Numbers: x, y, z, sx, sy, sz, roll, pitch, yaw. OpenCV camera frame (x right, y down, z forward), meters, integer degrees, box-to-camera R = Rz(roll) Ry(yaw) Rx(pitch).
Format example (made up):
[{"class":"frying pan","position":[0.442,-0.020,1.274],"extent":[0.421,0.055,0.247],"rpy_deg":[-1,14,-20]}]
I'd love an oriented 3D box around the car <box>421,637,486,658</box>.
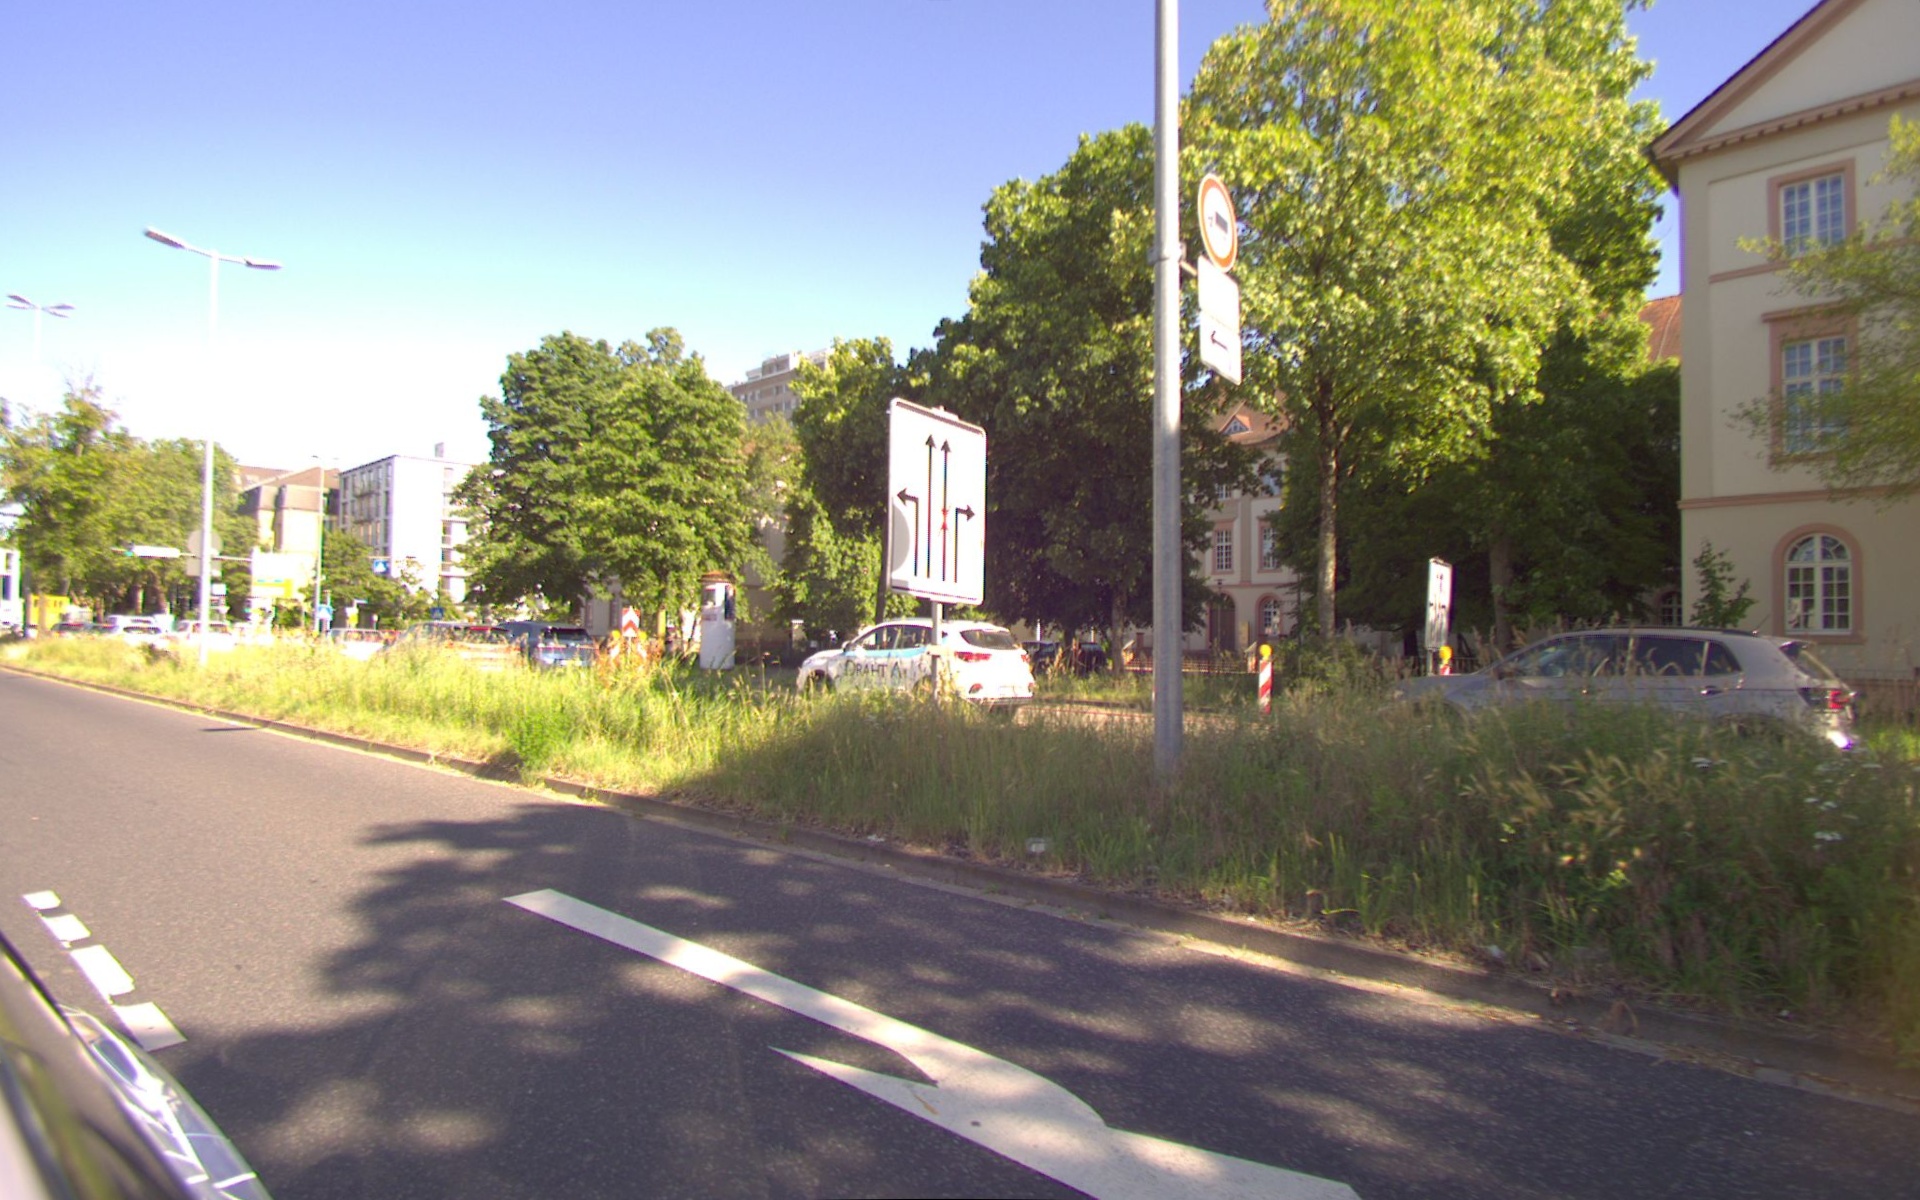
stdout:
[{"class":"car","position":[-43.418,4.029,86.775],"extent":[4.637,1.630,1.922],"rpy_deg":[1,1,-40]}]

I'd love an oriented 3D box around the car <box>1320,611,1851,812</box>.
[{"class":"car","position":[6.037,0.910,10.097],"extent":[4.257,1.530,1.777],"rpy_deg":[1,-1,42]}]

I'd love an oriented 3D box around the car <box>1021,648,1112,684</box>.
[{"class":"car","position":[4.276,2.645,40.963],"extent":[1.743,1.333,3.507],"rpy_deg":[3,-3,-39]}]

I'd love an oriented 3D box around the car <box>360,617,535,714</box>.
[{"class":"car","position":[-10.633,1.250,20.867],"extent":[4.322,1.630,1.734],"rpy_deg":[2,1,42]}]

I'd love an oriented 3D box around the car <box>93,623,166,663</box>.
[{"class":"car","position":[-45.076,2.298,54.896],"extent":[5.014,2.043,2.210],"rpy_deg":[-1,-3,41]}]

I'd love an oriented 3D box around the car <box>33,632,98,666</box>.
[{"class":"car","position":[-43.093,2.316,48.720],"extent":[4.344,1.530,1.777],"rpy_deg":[-1,-1,41]}]

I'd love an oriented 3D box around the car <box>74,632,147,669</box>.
[{"class":"car","position":[-37.526,2.199,44.664],"extent":[4.360,1.530,1.777],"rpy_deg":[-2,-2,41]}]

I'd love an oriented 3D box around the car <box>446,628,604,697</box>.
[{"class":"car","position":[-10.732,1.465,24.860],"extent":[4.441,1.530,1.777],"rpy_deg":[-1,-3,41]}]

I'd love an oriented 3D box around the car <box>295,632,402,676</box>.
[{"class":"car","position":[-20.327,1.756,33.576],"extent":[4.255,1.362,1.777],"rpy_deg":[-1,-3,40]}]

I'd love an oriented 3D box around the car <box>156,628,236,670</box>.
[{"class":"car","position":[-34.252,2.150,45.340],"extent":[5.028,1.756,1.777],"rpy_deg":[-1,-3,41]}]

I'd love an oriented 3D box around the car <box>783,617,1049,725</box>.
[{"class":"car","position":[-0.799,1.078,16.421],"extent":[4.255,1.530,1.777],"rpy_deg":[-1,-3,41]}]

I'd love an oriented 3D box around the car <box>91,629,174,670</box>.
[{"class":"car","position":[-32.441,1.898,39.621],"extent":[4.202,1.530,1.777],"rpy_deg":[-1,-3,41]}]

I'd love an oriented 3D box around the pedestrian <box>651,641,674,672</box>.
[{"class":"pedestrian","position":[-15.075,2.859,51.297],"extent":[0.780,1.547,0.733],"rpy_deg":[-2,-3,36]}]
